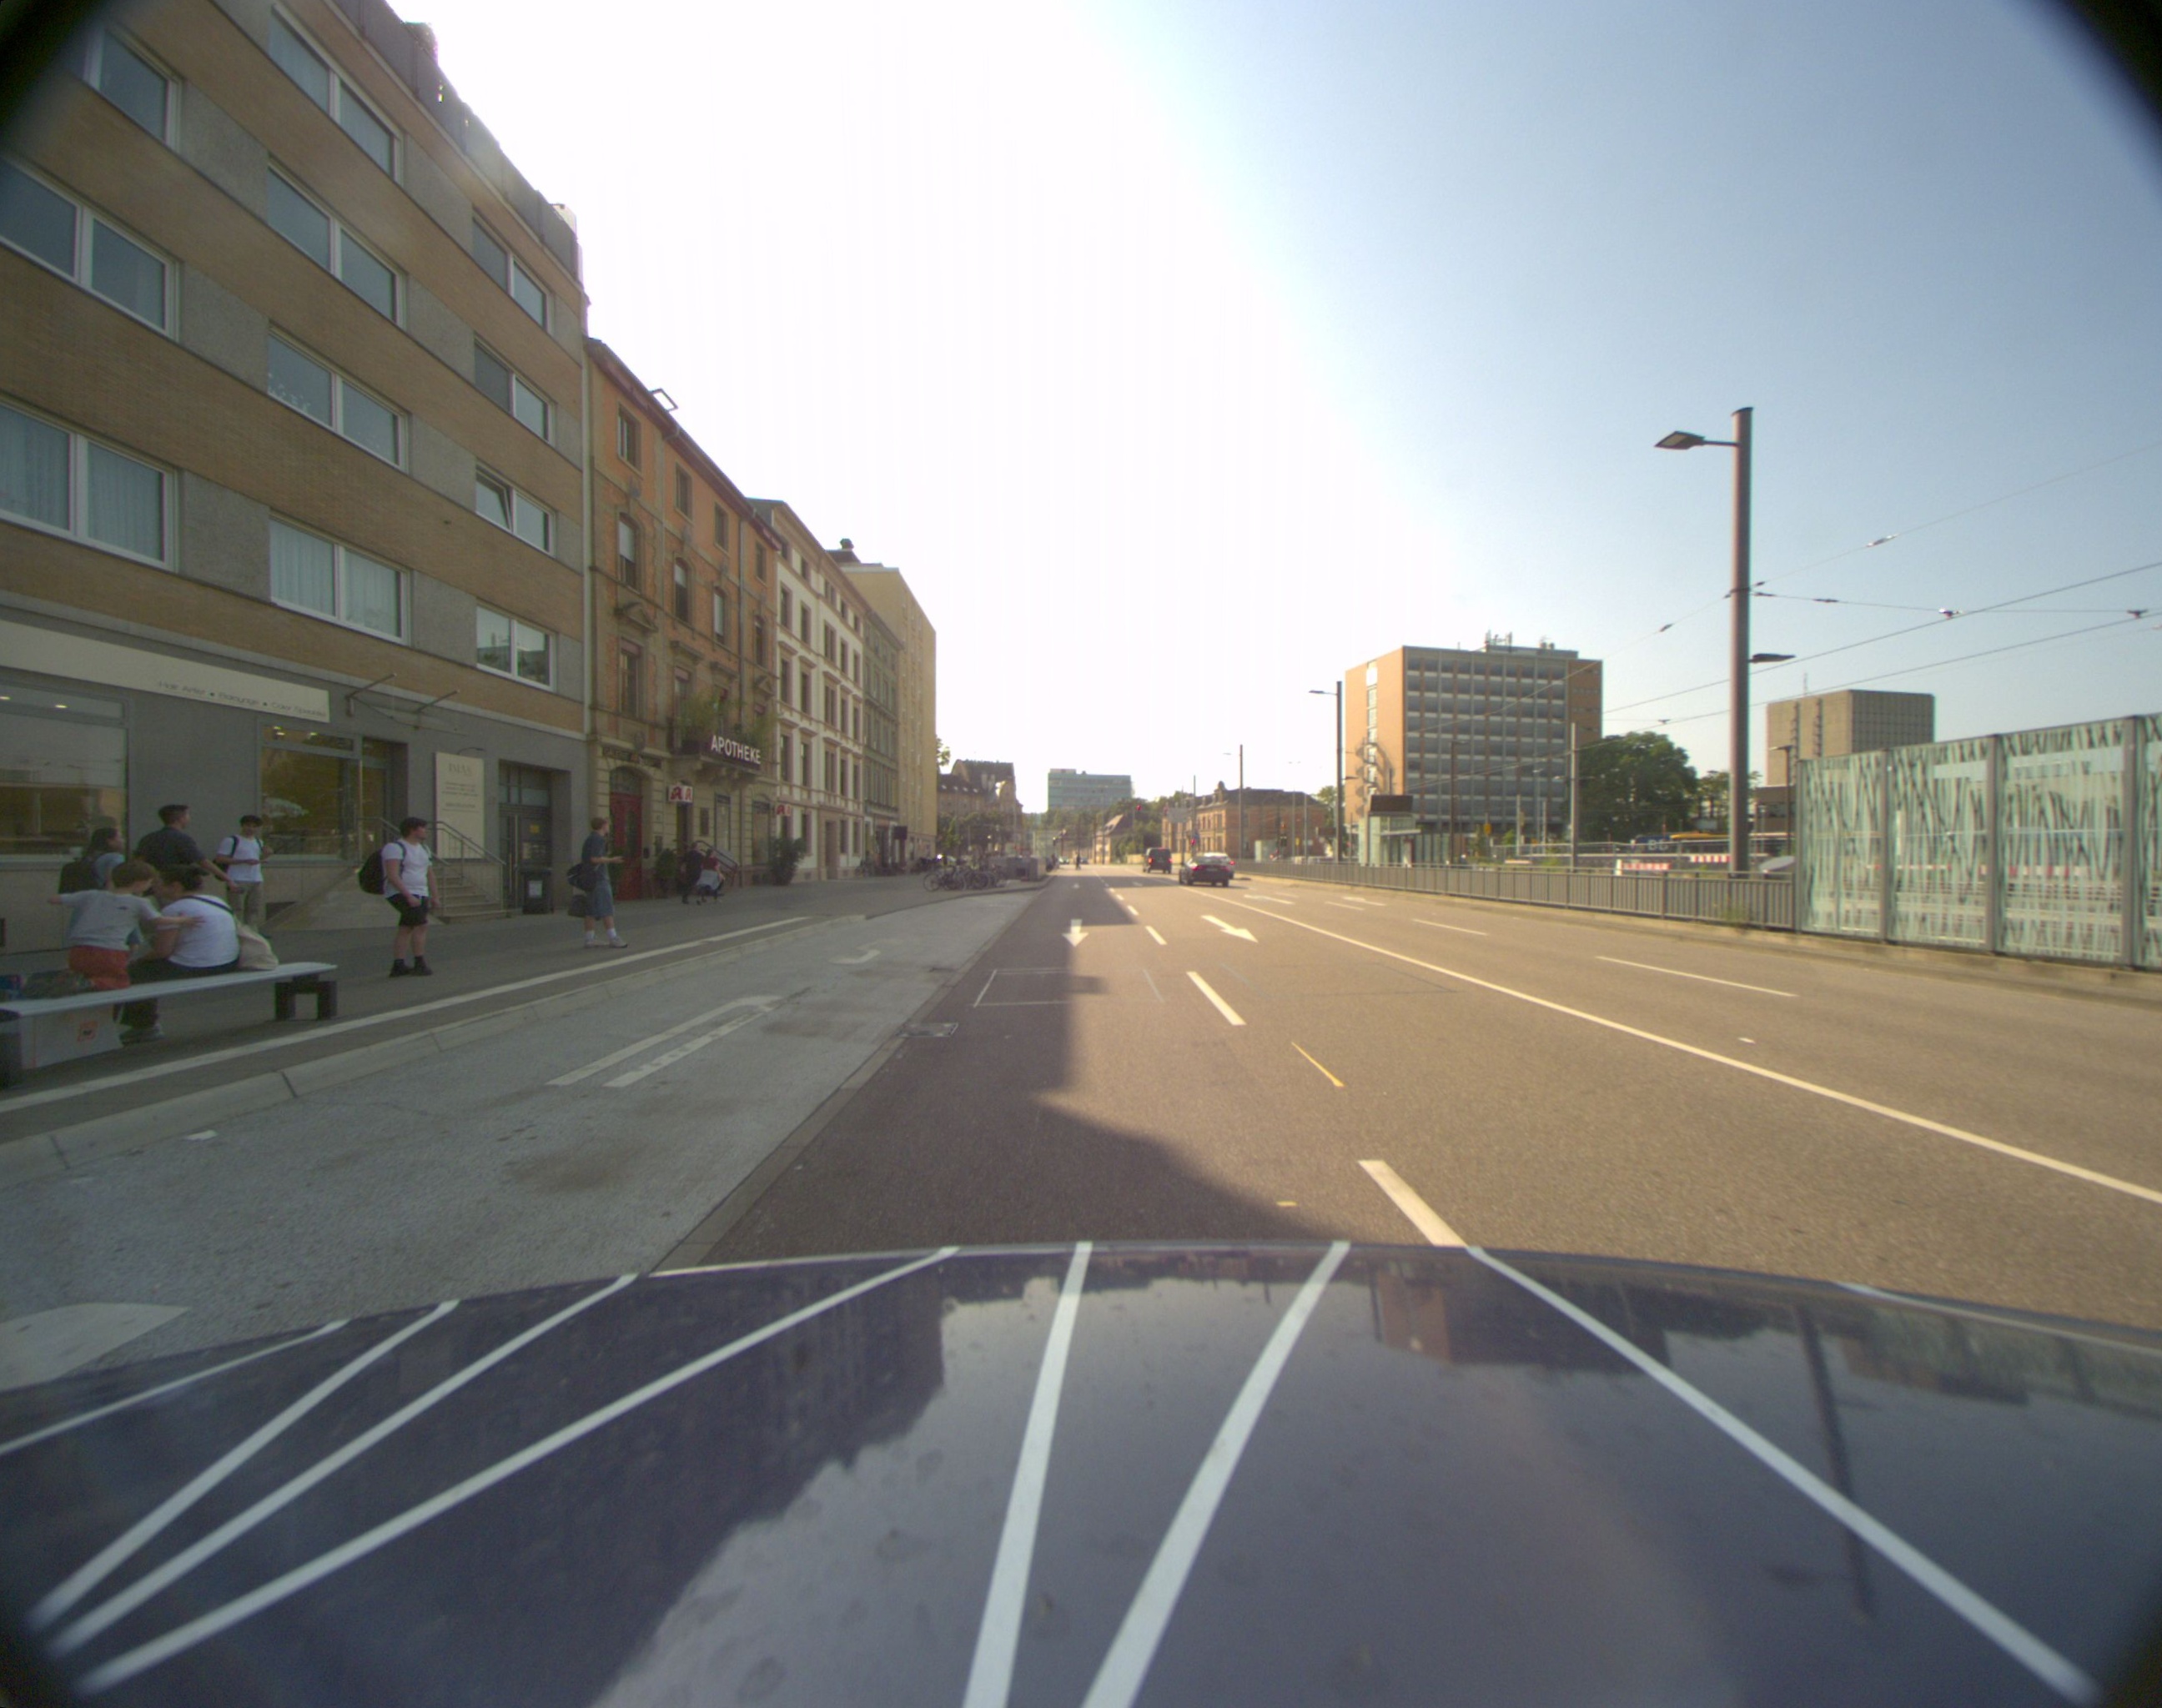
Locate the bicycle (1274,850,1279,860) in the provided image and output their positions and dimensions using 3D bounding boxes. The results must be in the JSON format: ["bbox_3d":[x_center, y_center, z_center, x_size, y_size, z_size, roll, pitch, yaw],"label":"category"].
[{"bbox_3d":[22.337,0.084,86.777,0.402,1.103,1.748,0,0,11],"label":"bicycle"}]

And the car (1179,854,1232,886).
[{"bbox_3d":[5.756,0.695,35.568,1.717,1.323,4.520,1,0,0],"label":"car"}]

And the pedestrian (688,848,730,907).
[{"bbox_3d":[-10.407,0.646,21.262,0.722,1.601,0.856,0,1,1],"label":"pedestrian"}]

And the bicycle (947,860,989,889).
[{"bbox_3d":[-4.502,0.800,30.355,1.637,1.142,0.385,0,1,-5],"label":"bicycle"}]

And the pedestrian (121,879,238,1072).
[{"bbox_3d":[-6.236,0.813,5.270,0.276,1.267,0.448,0,1,-7],"label":"pedestrian"}]

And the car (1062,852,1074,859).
[{"bbox_3d":[-2.635,0.316,148.933,1.927,1.368,3.997,0,0,-8],"label":"car"}]

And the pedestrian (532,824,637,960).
[{"bbox_3d":[-6.853,0.504,10.538,0.928,1.821,0.800,0,1,-3],"label":"pedestrian"}]

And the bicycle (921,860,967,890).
[{"bbox_3d":[-5.233,0.791,29.006,1.636,1.142,0.601,0,1,2],"label":"bicycle"}]

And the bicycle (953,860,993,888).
[{"bbox_3d":[-4.480,0.814,31.661,1.637,1.142,0.385,0,1,-5],"label":"bicycle"}]

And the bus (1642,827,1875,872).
[{"bbox_3d":[52.400,-0.344,59.488,13.277,3.160,3.232,0,0,43],"label":"bus"}]

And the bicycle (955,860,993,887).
[{"bbox_3d":[-4.660,0.852,33.190,1.637,1.142,0.385,0,1,-5],"label":"bicycle"}]

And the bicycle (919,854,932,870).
[{"bbox_3d":[-12.633,0.664,61.741,0.604,1.254,1.997,0,0,0],"label":"bicycle"}]

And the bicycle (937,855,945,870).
[{"bbox_3d":[-11.918,0.705,64.830,0.604,1.254,1.996,0,0,-8],"label":"bicycle"}]

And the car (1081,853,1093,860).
[{"bbox_3d":[1.174,0.459,146.058,1.693,1.319,3.997,0,0,-8],"label":"car"}]

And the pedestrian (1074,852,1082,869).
[{"bbox_3d":[-0.298,0.622,73.143,0.634,1.588,0.468,2,1,-2],"label":"pedestrian"}]

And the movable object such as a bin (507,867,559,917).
[{"bbox_3d":[-12.215,0.841,16.951,0.739,1.074,0.669,0,1,-17],"label":"movable object such as a bin"}]

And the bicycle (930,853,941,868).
[{"bbox_3d":[-12.810,0.557,66.894,0.604,1.254,1.849,0,0,-1],"label":"bicycle"}]

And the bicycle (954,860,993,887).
[{"bbox_3d":[-4.580,0.816,32.407,1.637,1.142,0.385,0,1,-5],"label":"bicycle"}]

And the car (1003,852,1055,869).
[{"bbox_3d":[-4.555,0.531,66.884,4.418,1.415,1.842,-1,1,-42],"label":"car"}]

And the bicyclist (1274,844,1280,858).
[{"bbox_3d":[22.339,-0.315,86.743,0.588,1.647,0.791,0,1,11],"label":"bicyclist"}]

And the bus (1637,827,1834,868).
[{"bbox_3d":[58.641,-0.578,68.672,13.277,3.399,3.232,0,1,44],"label":"bus"}]

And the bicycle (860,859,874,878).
[{"bbox_3d":[-13.112,0.883,46.622,0.384,1.127,1.719,0,0,1],"label":"bicycle"}]

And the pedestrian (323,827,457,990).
[{"bbox_3d":[-7.665,0.577,8.470,0.751,1.719,0.800,0,1,-3],"label":"pedestrian"}]

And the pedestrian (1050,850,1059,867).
[{"bbox_3d":[-2.471,0.447,70.721,0.810,1.539,0.548,2,1,1],"label":"pedestrian"}]

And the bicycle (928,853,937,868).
[{"bbox_3d":[-12.588,0.540,64.504,0.604,1.254,1.996,0,0,-8],"label":"bicycle"}]

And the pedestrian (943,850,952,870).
[{"bbox_3d":[-11.055,0.469,62.961,0.610,1.620,0.737,0,1,1],"label":"pedestrian"}]

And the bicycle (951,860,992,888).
[{"bbox_3d":[-4.439,0.807,30.912,1.637,1.142,0.385,0,1,-5],"label":"bicycle"}]

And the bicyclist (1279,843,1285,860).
[{"bbox_3d":[23.785,-0.332,89.939,0.580,1.963,0.808,0,0,15],"label":"bicyclist"}]

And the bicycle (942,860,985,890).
[{"bbox_3d":[-4.556,0.811,29.548,1.637,1.142,0.385,0,1,-5],"label":"bicycle"}]

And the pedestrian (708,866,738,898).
[{"bbox_3d":[-11.469,0.891,24.355,0.612,0.976,0.637,0,1,20],"label":"pedestrian"}]

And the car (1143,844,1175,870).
[{"bbox_3d":[6.097,0.223,59.895,1.999,1.893,4.715,1,0,0],"label":"car"}]

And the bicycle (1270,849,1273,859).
[{"bbox_3d":[22.393,0.042,89.298,0.311,1.158,1.501,0,0,16],"label":"bicycle"}]

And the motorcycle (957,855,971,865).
[{"bbox_3d":[-12.904,0.674,83.837,0.704,1.140,2.304,0,0,16],"label":"motorcycle"}]

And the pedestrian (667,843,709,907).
[{"bbox_3d":[-11.092,0.573,21.473,0.722,1.777,0.856,0,1,1],"label":"pedestrian"}]

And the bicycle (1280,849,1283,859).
[{"bbox_3d":[23.749,0.050,89.930,0.376,1.158,1.861,0,0,16],"label":"bicycle"}]

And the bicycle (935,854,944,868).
[{"bbox_3d":[-13.036,0.624,69.973,0.470,1.254,1.636,0,0,-1],"label":"bicycle"}]

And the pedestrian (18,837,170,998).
[{"bbox_3d":[-10.275,0.629,7.945,0.487,1.601,0.812,0,1,1],"label":"pedestrian"}]

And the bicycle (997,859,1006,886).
[{"bbox_3d":[-3.541,0.826,33.831,0.408,1.142,1.655,0,1,-6],"label":"bicycle"}]

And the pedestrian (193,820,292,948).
[{"bbox_3d":[-12.360,0.424,11.224,0.605,1.821,0.742,0,1,-3],"label":"pedestrian"}]

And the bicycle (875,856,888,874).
[{"bbox_3d":[-13.099,0.719,49.946,0.384,1.127,1.719,0,0,1],"label":"bicycle"}]

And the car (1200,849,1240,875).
[{"bbox_3d":[8.852,0.472,48.665,1.717,1.602,4.504,1,0,0],"label":"car"}]

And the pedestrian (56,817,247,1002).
[{"bbox_3d":[-9.616,0.540,7.917,0.618,1.794,1.071,0,1,1],"label":"pedestrian"}]

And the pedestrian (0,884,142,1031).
[{"bbox_3d":[-6.212,0.600,4.611,0.304,0.815,0.603,0,1,-7],"label":"pedestrian"}]

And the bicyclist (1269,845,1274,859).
[{"bbox_3d":[22.399,-0.192,89.224,0.511,1.620,0.808,0,0,15],"label":"bicyclist"}]

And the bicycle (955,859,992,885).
[{"bbox_3d":[-4.762,0.805,33.704,1.637,1.142,0.385,0,1,-5],"label":"bicycle"}]

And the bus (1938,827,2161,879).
[{"bbox_3d":[64.538,-0.058,48.158,13.277,3.160,3.232,0,0,44],"label":"bus"}]

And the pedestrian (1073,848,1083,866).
[{"bbox_3d":[-0.321,0.285,77.136,0.834,1.778,0.729,2,1,8],"label":"pedestrian"}]
